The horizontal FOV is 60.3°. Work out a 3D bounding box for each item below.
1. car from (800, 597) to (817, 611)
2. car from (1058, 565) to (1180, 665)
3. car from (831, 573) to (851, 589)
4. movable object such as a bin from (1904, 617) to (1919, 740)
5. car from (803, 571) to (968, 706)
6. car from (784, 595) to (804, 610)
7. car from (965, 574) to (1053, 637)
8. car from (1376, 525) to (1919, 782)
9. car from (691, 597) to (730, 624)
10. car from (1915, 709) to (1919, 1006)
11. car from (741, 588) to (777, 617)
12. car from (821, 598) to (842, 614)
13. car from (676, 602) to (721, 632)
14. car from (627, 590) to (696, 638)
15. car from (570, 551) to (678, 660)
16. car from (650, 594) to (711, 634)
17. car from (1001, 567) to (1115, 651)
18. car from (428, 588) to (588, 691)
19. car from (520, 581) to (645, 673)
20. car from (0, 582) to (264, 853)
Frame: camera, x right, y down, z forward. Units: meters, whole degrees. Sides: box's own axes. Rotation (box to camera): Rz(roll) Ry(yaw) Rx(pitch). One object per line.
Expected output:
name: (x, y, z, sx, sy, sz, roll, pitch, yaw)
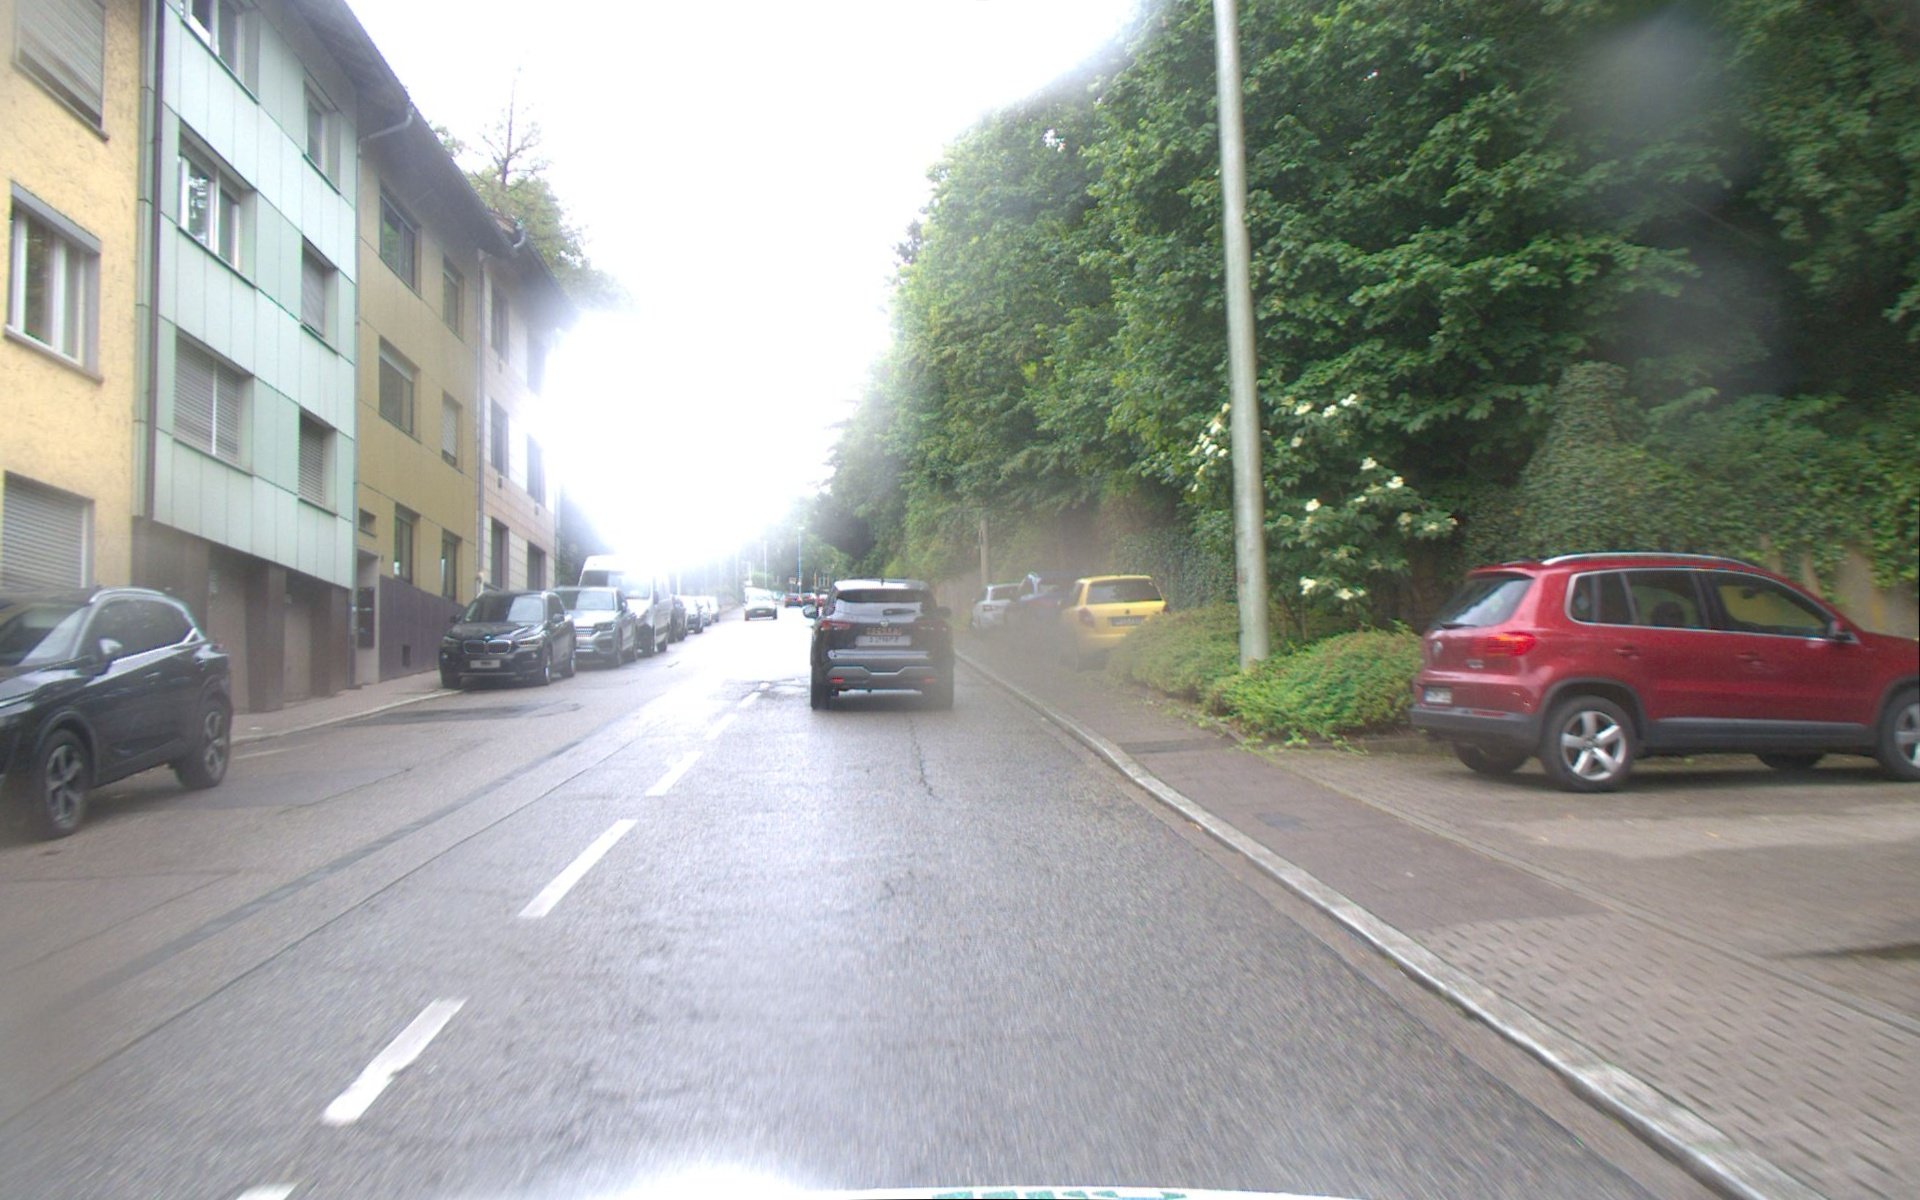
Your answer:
car: (-18.326, 0.450, 200.004, 2.034, 1.587, 3.996, -1, 1, -5)
car: (2.613, 0.213, 28.010, 1.600, 1.557, 3.999, 0, 0, -1)
car: (-13.484, -2.152, 187.237, 1.953, 1.587, 3.998, -3, -1, -2)
movable object such as a bin: (8.690, 0.686, 14.455, 0.497, 1.080, 0.602, 0, -2, -4)
car: (-1.010, 0.421, 21.702, 1.954, 1.586, 3.997, 0, 1, -4)
car: (-18.151, 0.290, 180.797, 2.034, 1.587, 3.996, -1, 1, -5)
car: (1.305, 0.132, 45.907, 1.776, 1.556, 4.411, -4, 1, -6)
car: (5.464, 0.391, 12.545, 4.119, 1.765, 1.757, 1, 0, -8)
car: (-14.733, 0.614, 97.719, 1.951, 1.408, 4.453, -2, 1, -5)
car: (5.314, 0.622, 4.842, 4.117, 1.522, 1.758, 1, 0, -6)
car: (-11.791, 0.126, 97.220, 1.955, 1.586, 3.996, 0, 1, -5)
car: (-13.492, 0.587, 173.309, 2.035, 1.587, 3.994, -1, 1, -7)
car: (-13.682, 0.850, 86.685, 1.951, 1.408, 4.453, -2, 1, -5)
car: (-10.732, 0.468, 59.709, 1.951, 1.594, 4.453, -2, 1, -5)
car: (-8.515, 0.091, 42.376, 1.951, 2.518, 5.779, -2, 1, -5)
car: (-11.056, 0.528, 65.698, 1.951, 1.408, 4.453, -2, 1, -5)
car: (1.996, 0.167, 34.944, 1.775, 1.556, 4.413, -4, 1, -4)
car: (-7.961, 0.639, 29.533, 1.951, 1.612, 4.301, -2, 1, -5)
car: (-8.054, 0.513, 35.640, 1.951, 1.786, 4.476, -2, 1, -5)
car: (-6.738, 0.711, 11.981, 1.817, 1.612, 4.301, -2, 1, -5)
